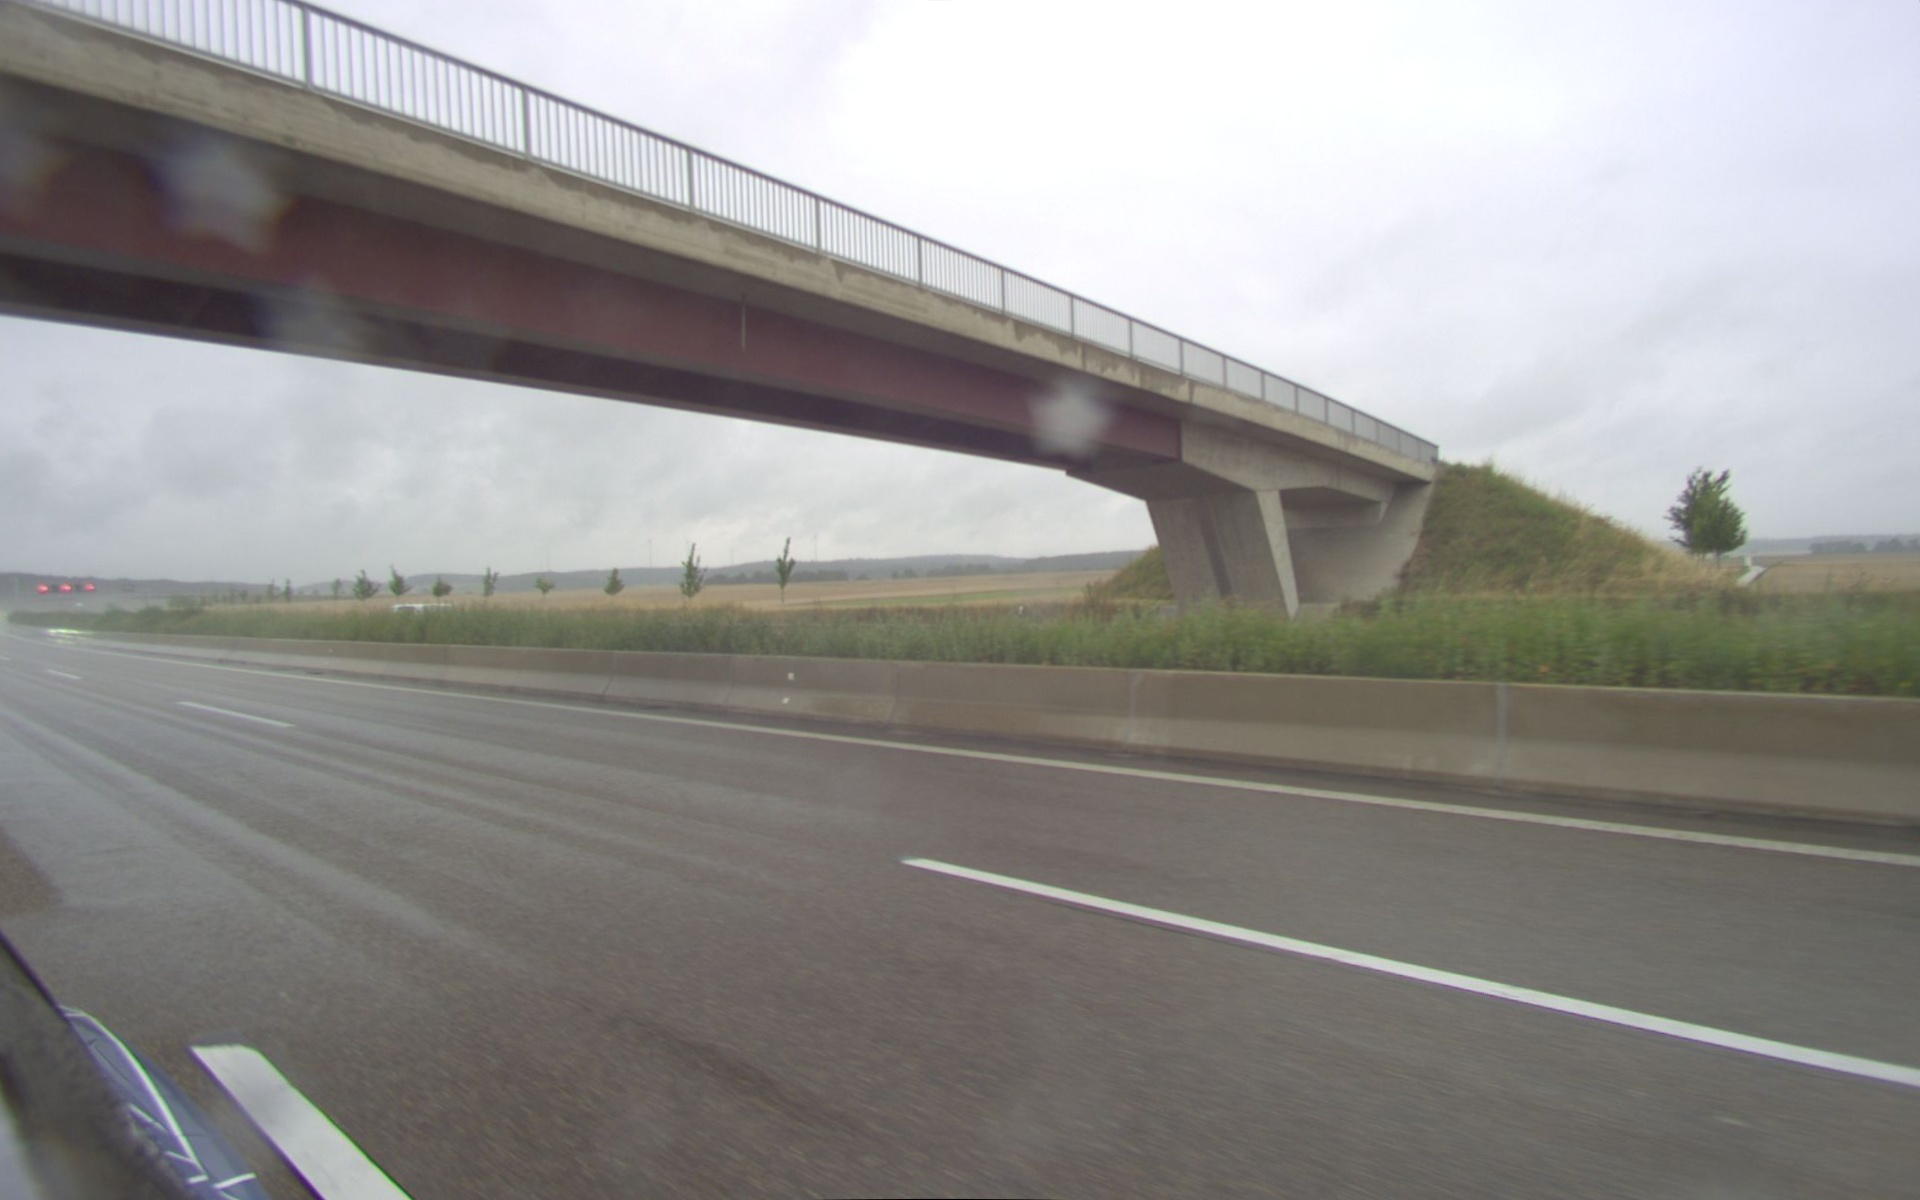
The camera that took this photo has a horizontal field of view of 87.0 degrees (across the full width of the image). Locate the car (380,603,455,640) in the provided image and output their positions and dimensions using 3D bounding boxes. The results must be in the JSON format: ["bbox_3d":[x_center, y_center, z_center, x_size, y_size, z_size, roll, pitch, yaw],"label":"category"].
[{"bbox_3d":[-24.614,0.969,45.880,4.144,1.563,1.628,-1,0,41],"label":"car"}]
